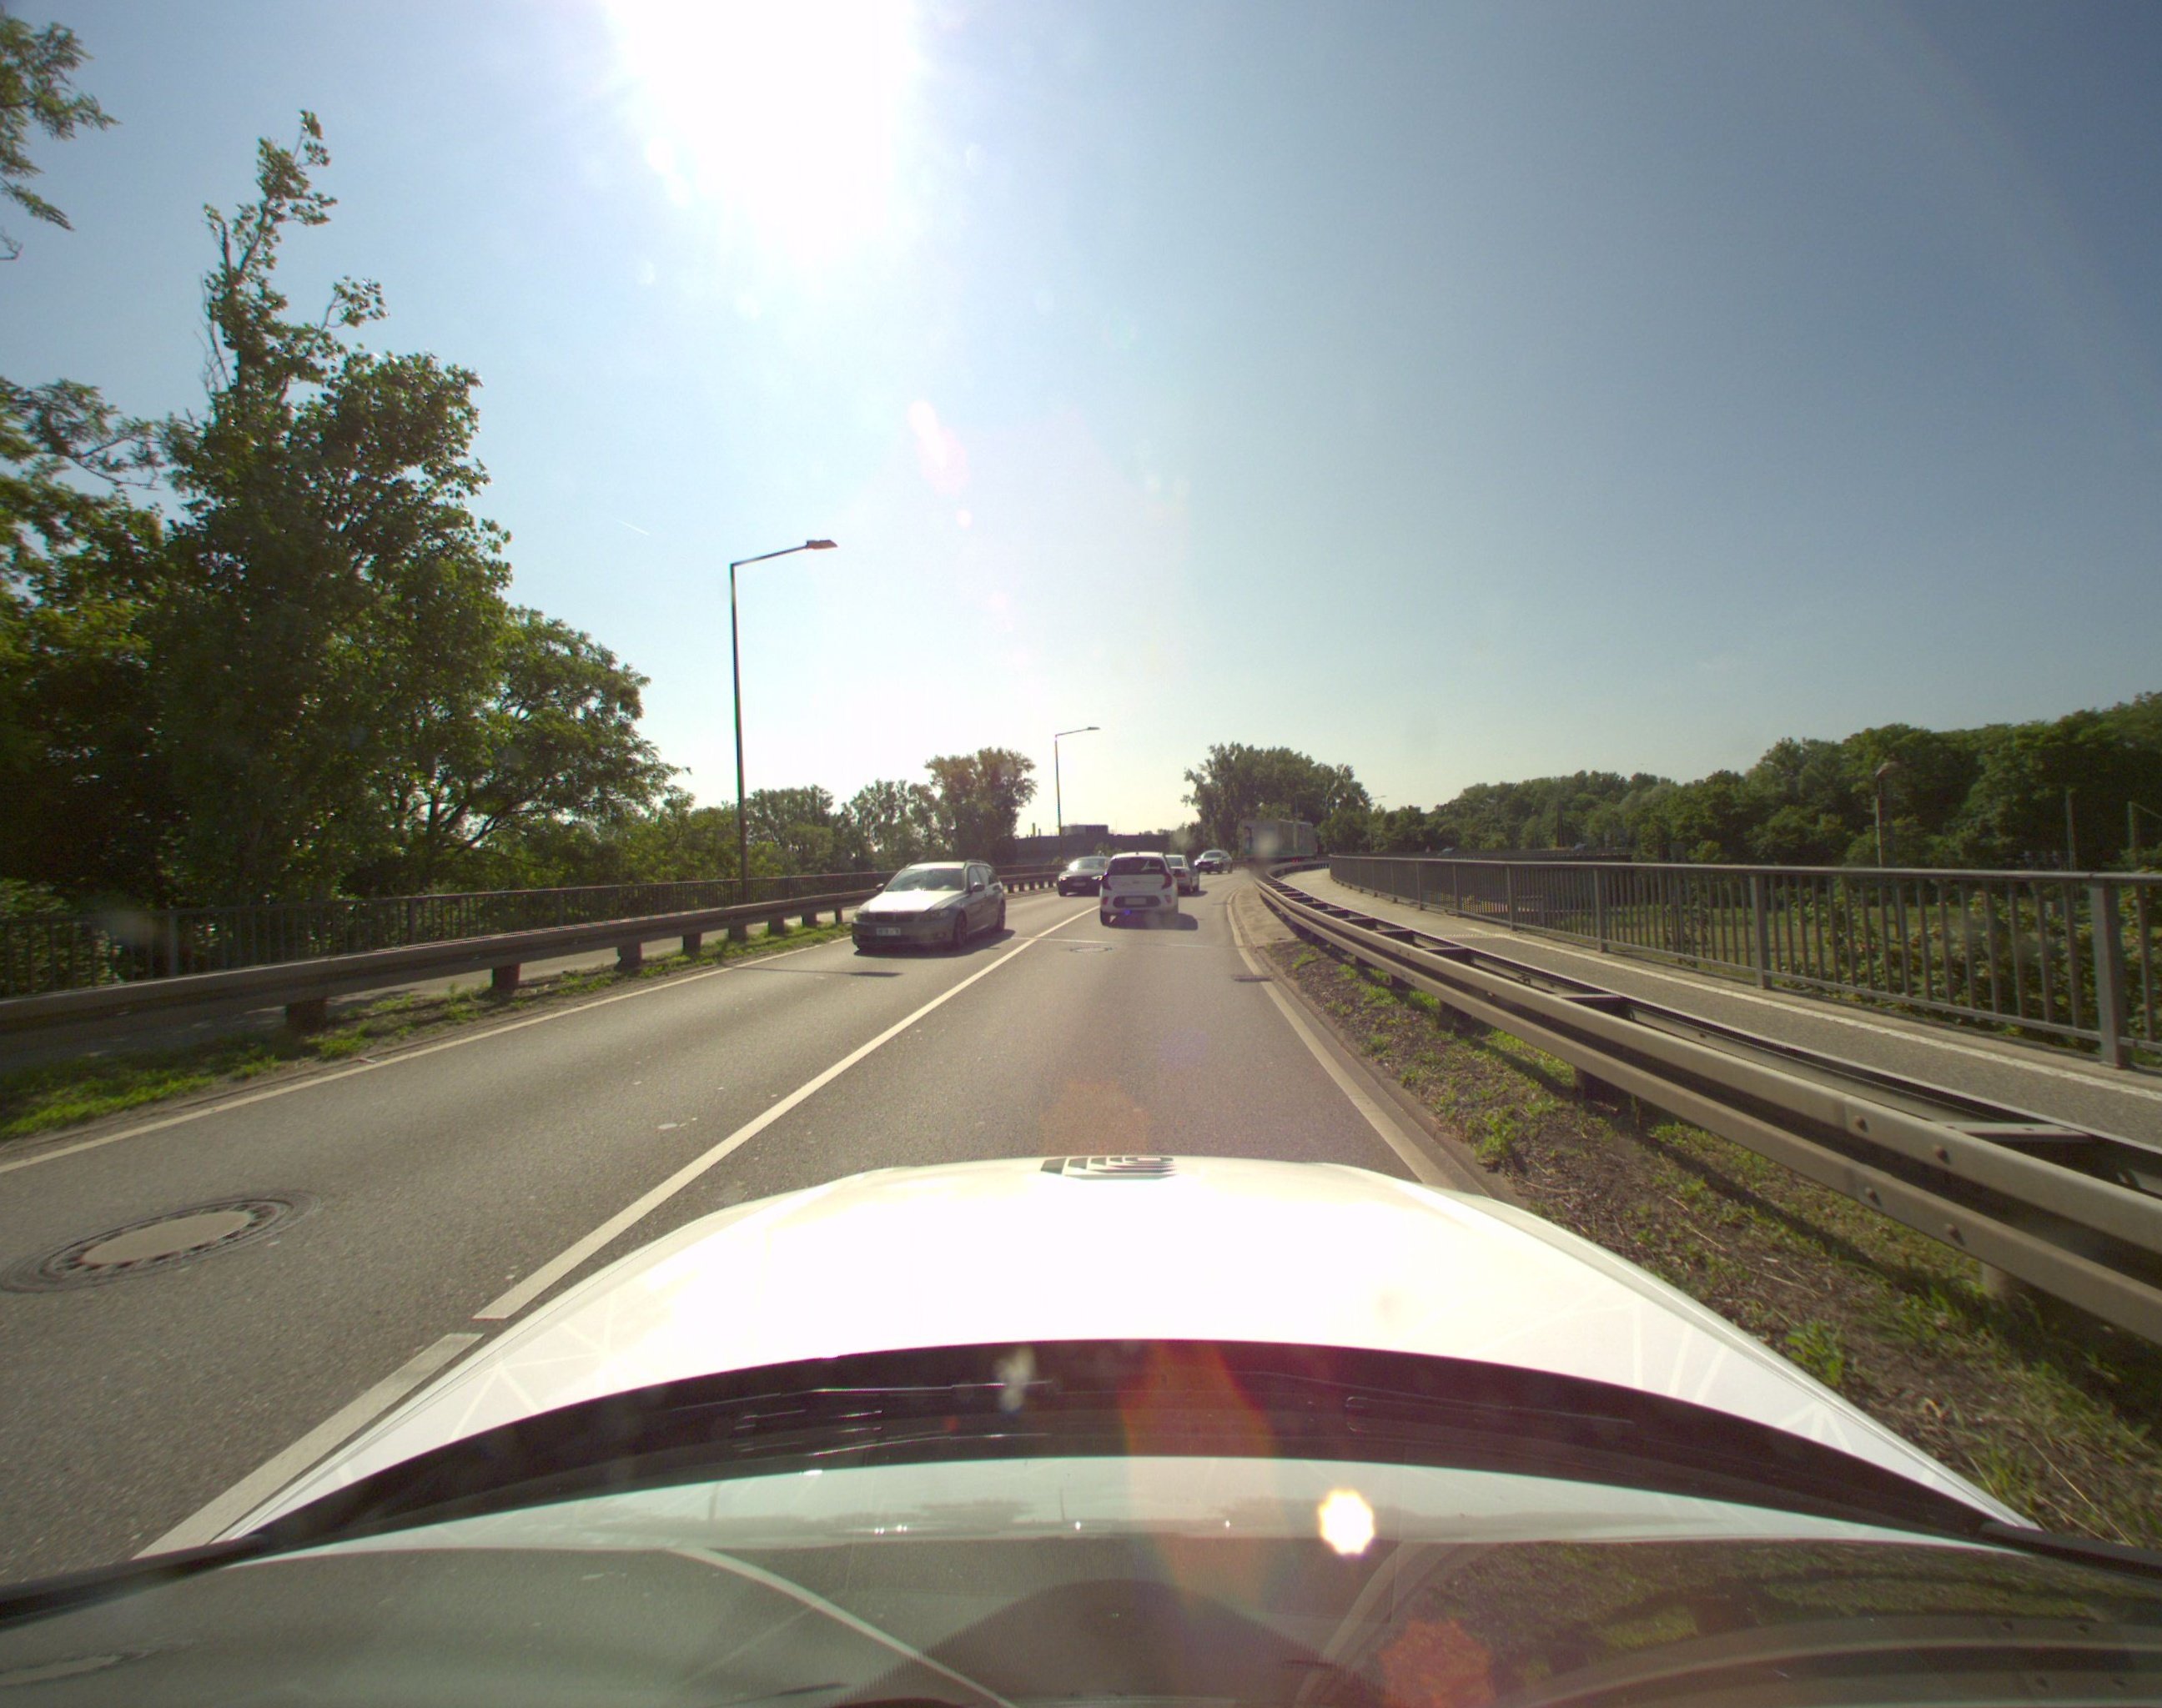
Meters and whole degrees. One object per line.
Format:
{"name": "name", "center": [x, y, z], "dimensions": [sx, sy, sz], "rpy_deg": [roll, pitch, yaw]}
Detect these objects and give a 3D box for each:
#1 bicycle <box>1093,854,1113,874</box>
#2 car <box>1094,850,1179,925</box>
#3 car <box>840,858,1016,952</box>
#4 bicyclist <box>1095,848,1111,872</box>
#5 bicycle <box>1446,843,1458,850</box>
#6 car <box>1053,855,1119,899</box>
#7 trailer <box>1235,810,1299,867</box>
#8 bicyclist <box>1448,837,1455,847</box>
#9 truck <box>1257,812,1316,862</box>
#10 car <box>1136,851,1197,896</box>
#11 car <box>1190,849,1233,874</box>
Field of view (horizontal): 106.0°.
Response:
{"name": "bicycle", "center": [1.389, 0.622, 50.152], "dimensions": [0.607, 1.135, 2.158], "rpy_deg": [-5, -2, 16]}
{"name": "car", "center": [1.359, 0.660, 18.520], "dimensions": [1.692, 1.494, 4.008], "rpy_deg": [0, 1, 7]}
{"name": "car", "center": [-2.535, 0.804, 14.637], "dimensions": [1.706, 1.398, 4.194], "rpy_deg": [-1, 0, 10]}
{"name": "bicyclist", "center": [1.364, 0.369, 50.170], "dimensions": [0.603, 1.439, 1.082], "rpy_deg": [-4, -2, 16]}
{"name": "bicycle", "center": [56.396, -1.139, 123.820], "dimensions": [1.979, 0.891, 0.920], "rpy_deg": [-2, 0, -44]}
{"name": "car", "center": [0.261, 0.802, 30.313], "dimensions": [1.728, 1.457, 4.311], "rpy_deg": [-1, 0, 10]}
{"name": "trailer", "center": [13.434, -1.179, 58.264], "dimensions": [3.196, 3.757, 7.868], "rpy_deg": [0, 2, 23]}
{"name": "bicyclist", "center": [56.308, -1.805, 123.750], "dimensions": [1.022, 1.496, 0.654], "rpy_deg": [-3, 2, -44]}
{"name": "truck", "center": [16.646, -1.419, 65.613], "dimensions": [3.231, 3.757, 8.418], "rpy_deg": [1, 2, 24]}
{"name": "car", "center": [3.208, 0.642, 29.741], "dimensions": [1.928, 1.486, 4.912], "rpy_deg": [-1, 0, 9]}
{"name": "car", "center": [9.268, 0.541, 57.530], "dimensions": [1.841, 1.682, 4.498], "rpy_deg": [0, -1, 25]}
